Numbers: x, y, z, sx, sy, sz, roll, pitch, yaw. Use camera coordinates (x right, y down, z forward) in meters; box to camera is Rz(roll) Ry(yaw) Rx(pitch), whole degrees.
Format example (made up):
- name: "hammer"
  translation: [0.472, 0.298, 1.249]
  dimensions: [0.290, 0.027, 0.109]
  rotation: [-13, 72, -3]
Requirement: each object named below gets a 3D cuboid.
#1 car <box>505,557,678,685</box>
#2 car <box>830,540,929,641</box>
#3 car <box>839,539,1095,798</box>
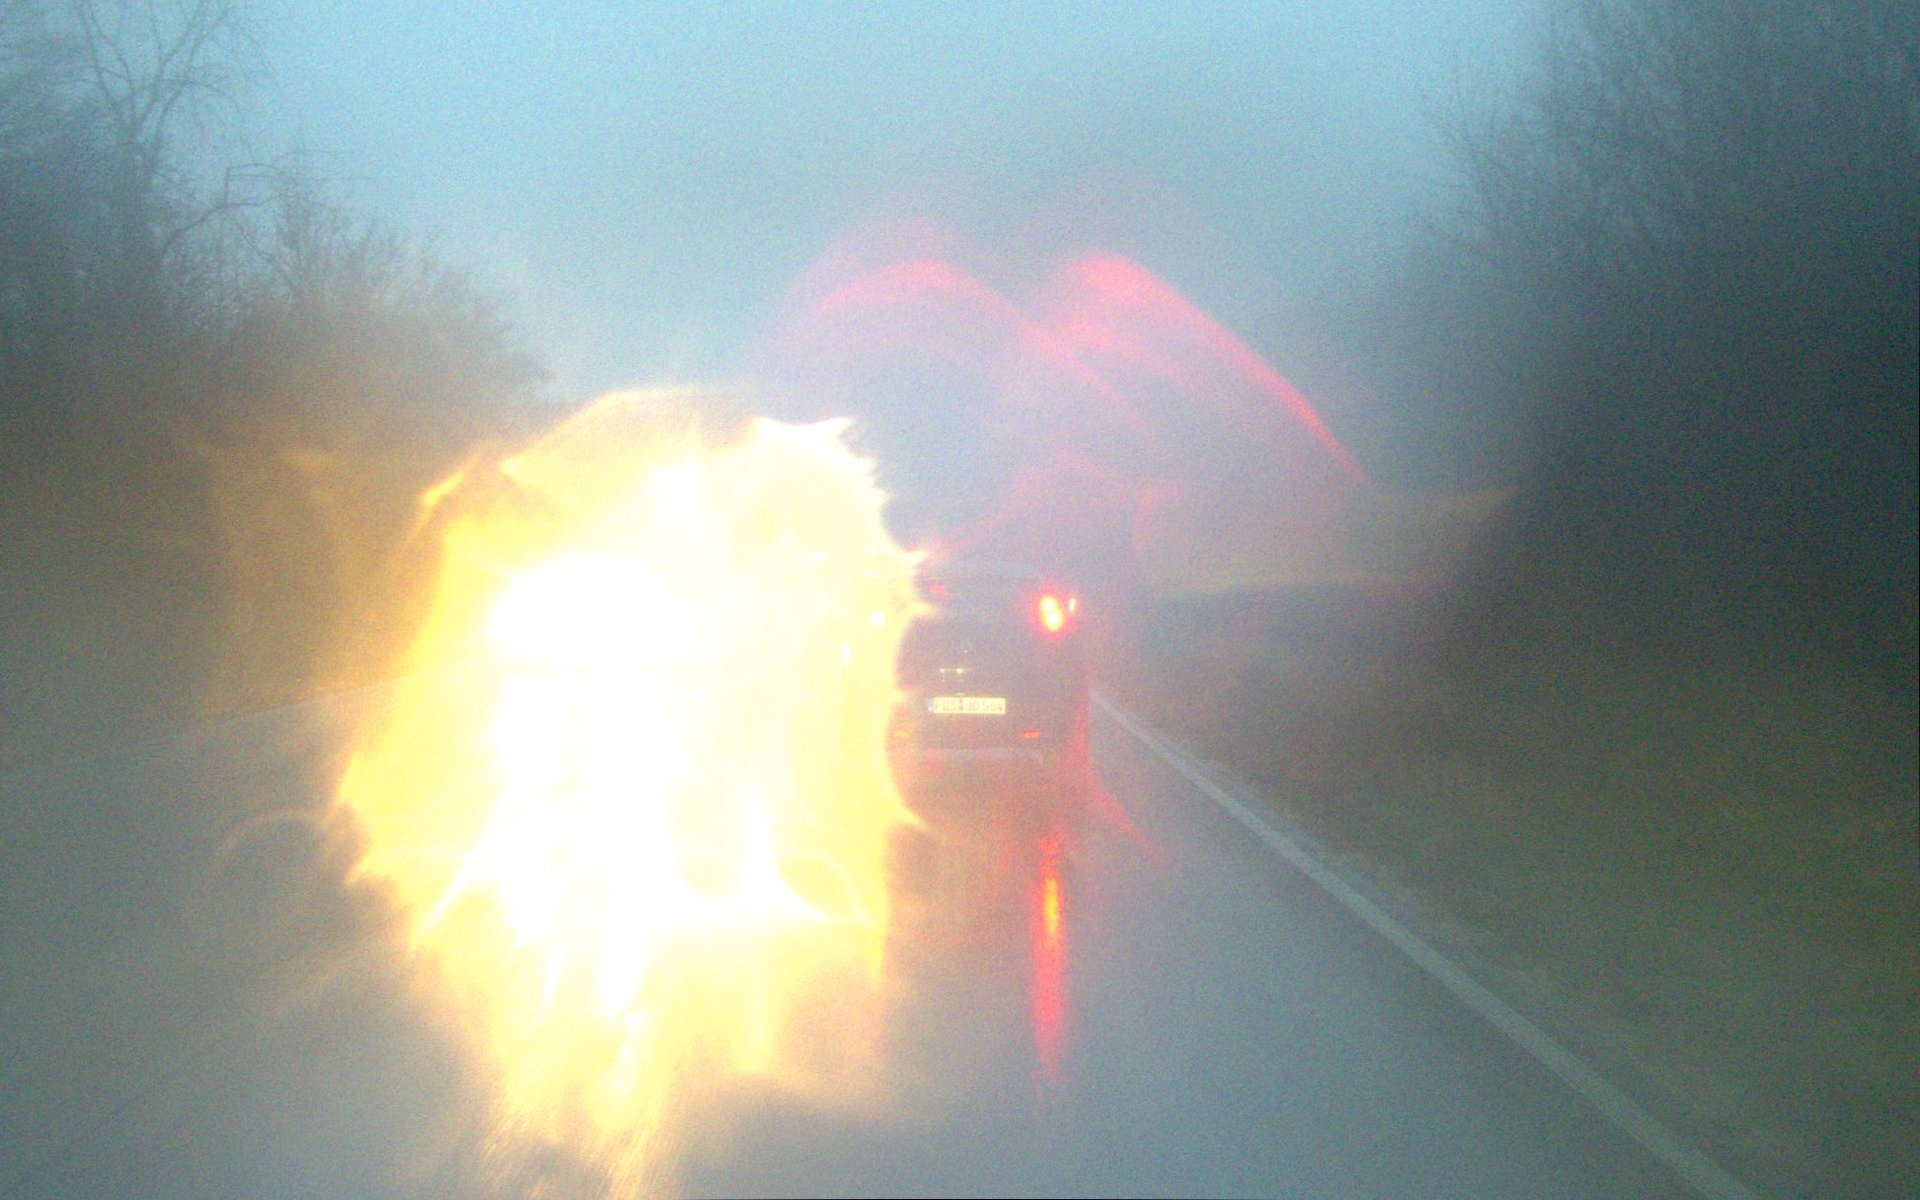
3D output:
- name: "car"
  translation: [-4.692, 0.219, 44.452]
  dimensions: [1.698, 1.490, 5.664]
  rotation: [1, 1, -1]
- name: "car"
  translation: [-1.479, -0.188, 63.371]
  dimensions: [1.733, 1.773, 4.000]
  rotation: [1, 1, -1]
- name: "car"
  translation: [0.023, 0.429, 24.230]
  dimensions: [1.648, 1.666, 3.514]
  rotation: [1, 1, -1]
